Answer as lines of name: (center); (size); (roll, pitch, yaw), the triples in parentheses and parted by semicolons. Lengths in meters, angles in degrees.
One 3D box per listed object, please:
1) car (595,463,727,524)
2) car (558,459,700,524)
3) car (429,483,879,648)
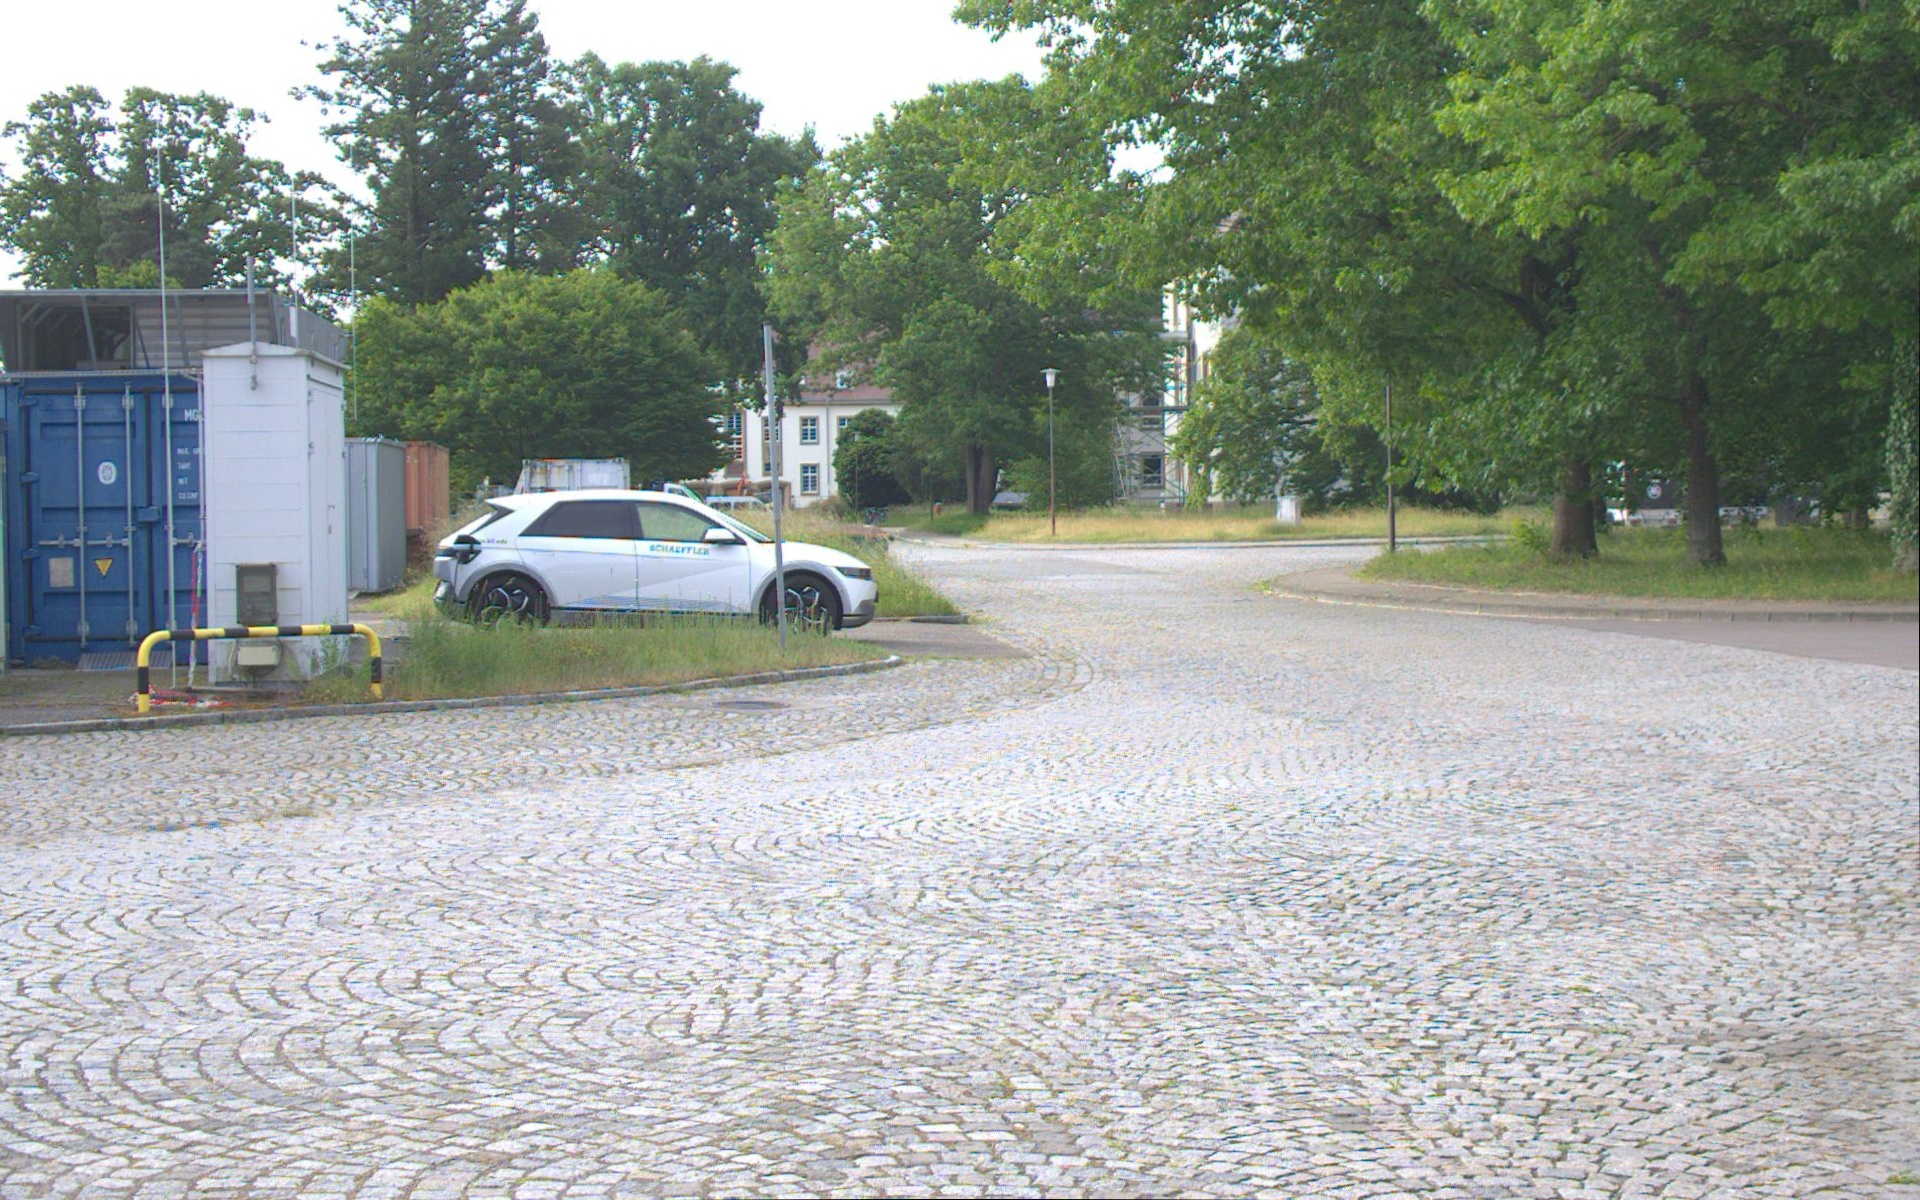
car: (-11.924, -4.251, 137.177); (5.169, 2.329, 2.000); (-1, 2, -5)
car: (-12.269, -4.023, 127.557); (5.169, 2.329, 2.000); (-1, 2, -5)
car: (-3.149, -0.383, 36.005); (4.533, 1.594, 2.000); (-1, 2, -2)
